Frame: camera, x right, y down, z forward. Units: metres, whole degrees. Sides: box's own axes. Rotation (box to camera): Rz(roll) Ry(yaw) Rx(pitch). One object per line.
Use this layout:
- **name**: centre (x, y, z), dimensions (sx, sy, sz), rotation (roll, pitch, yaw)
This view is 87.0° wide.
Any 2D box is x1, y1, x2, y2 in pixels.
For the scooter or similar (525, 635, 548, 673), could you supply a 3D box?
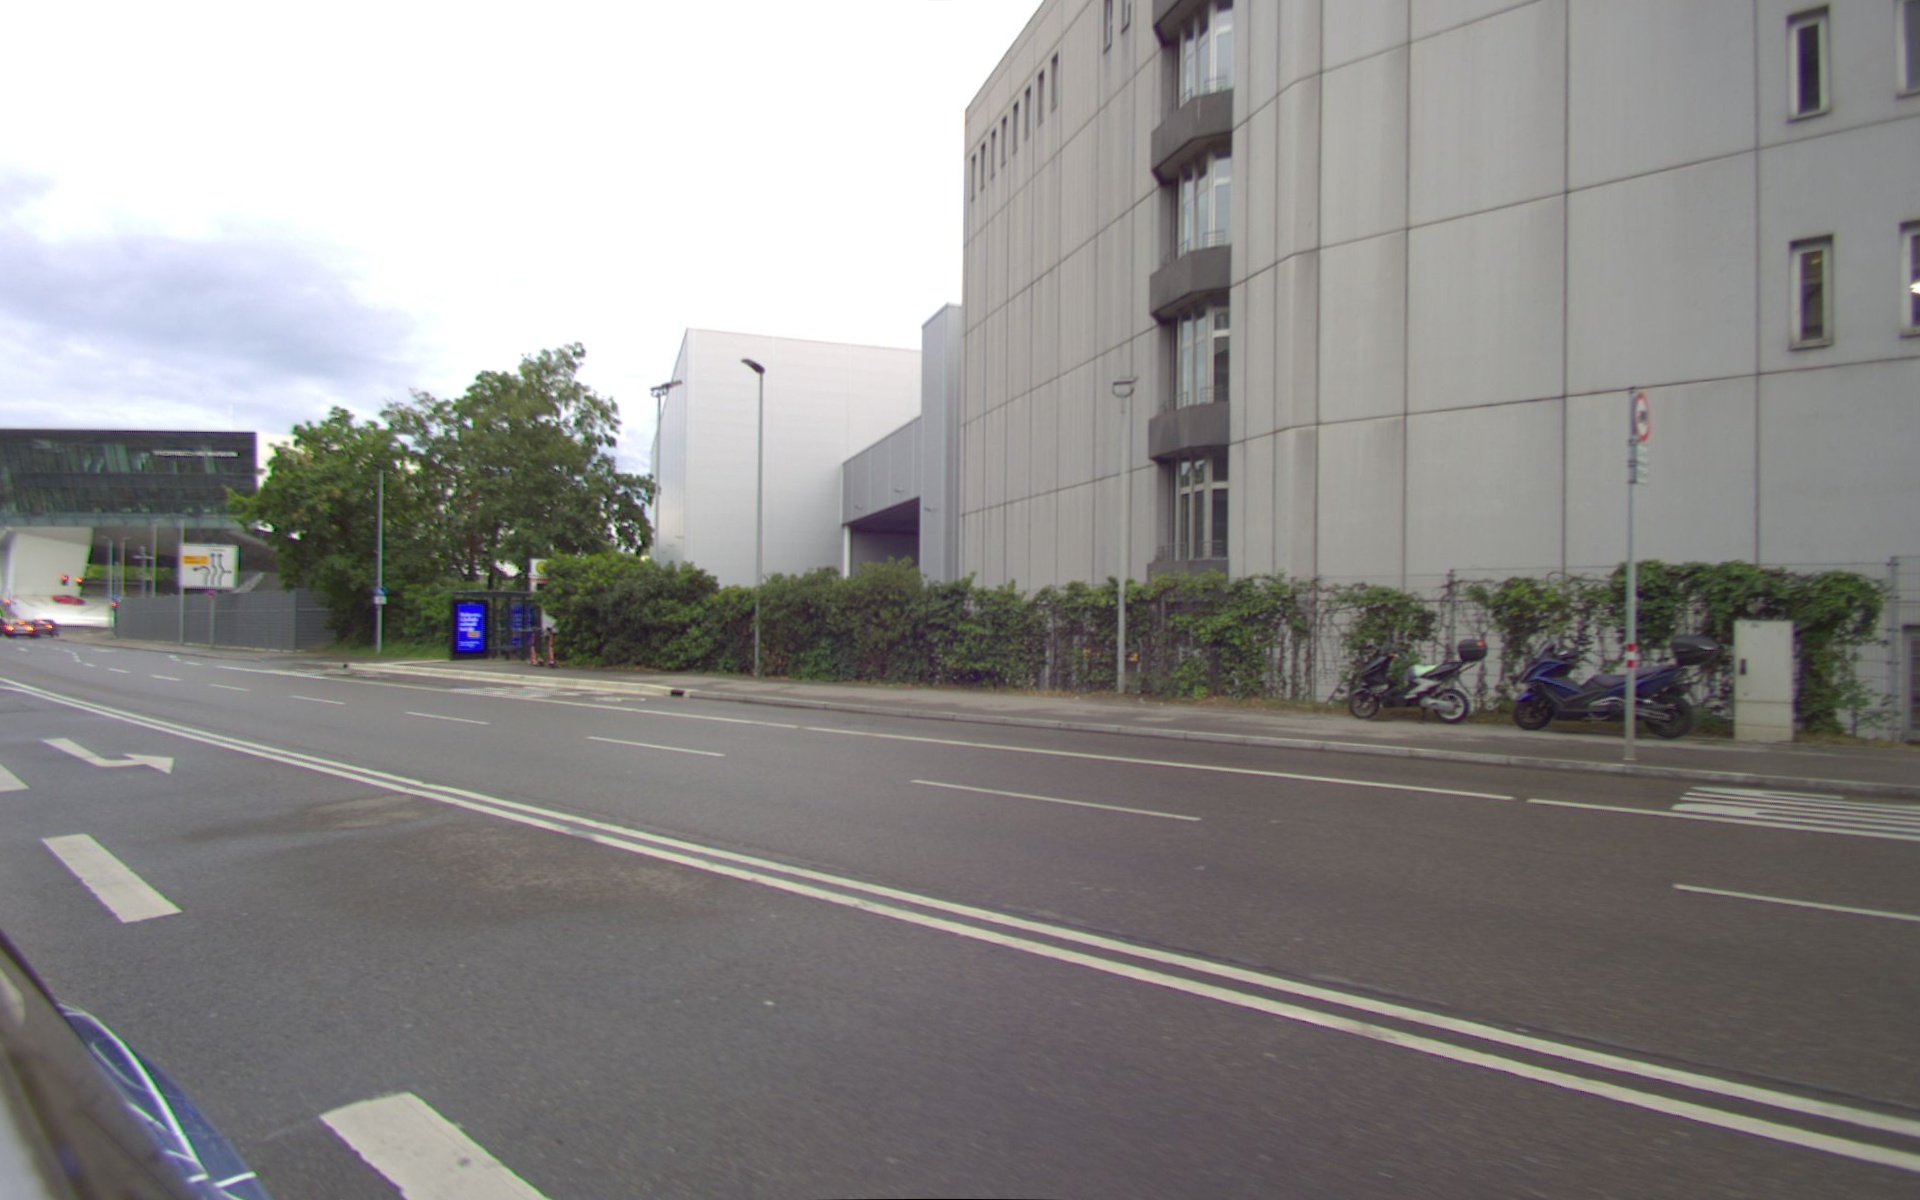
- **scooter or similar**: centre (-13.626, 1.719, 32.532), dimensions (0.383, 1.189, 1.253), rotation (1, -2, -36)

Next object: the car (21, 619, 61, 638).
- **car**: centre (-81.788, 2.537, 90.119), dimensions (1.834, 1.663, 3.799), rotation (1, -2, -30)

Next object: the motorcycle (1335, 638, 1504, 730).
- **motorcycle**: centre (6.773, 1.196, 14.993), dimensions (2.156, 1.260, 0.776), rotation (-1, -2, 41)

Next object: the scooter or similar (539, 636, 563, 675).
- **scooter or similar**: centre (-12.723, 1.710, 31.493), dimensions (0.373, 1.190, 1.381), rotation (1, -2, -36)

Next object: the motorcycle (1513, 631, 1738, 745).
- **motorcycle**: centre (8.644, 1.094, 13.228), dimensions (2.368, 1.358, 0.776), rotation (-1, -2, 41)

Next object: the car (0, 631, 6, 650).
- **car**: centre (-84.146, 3.487, 87.380), dimensions (1.850, 1.663, 3.862), rotation (1, -2, -33)

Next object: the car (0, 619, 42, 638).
- **car**: centre (-78.186, 2.359, 84.013), dimensions (2.233, 1.488, 4.059), rotation (1, -2, -32)
